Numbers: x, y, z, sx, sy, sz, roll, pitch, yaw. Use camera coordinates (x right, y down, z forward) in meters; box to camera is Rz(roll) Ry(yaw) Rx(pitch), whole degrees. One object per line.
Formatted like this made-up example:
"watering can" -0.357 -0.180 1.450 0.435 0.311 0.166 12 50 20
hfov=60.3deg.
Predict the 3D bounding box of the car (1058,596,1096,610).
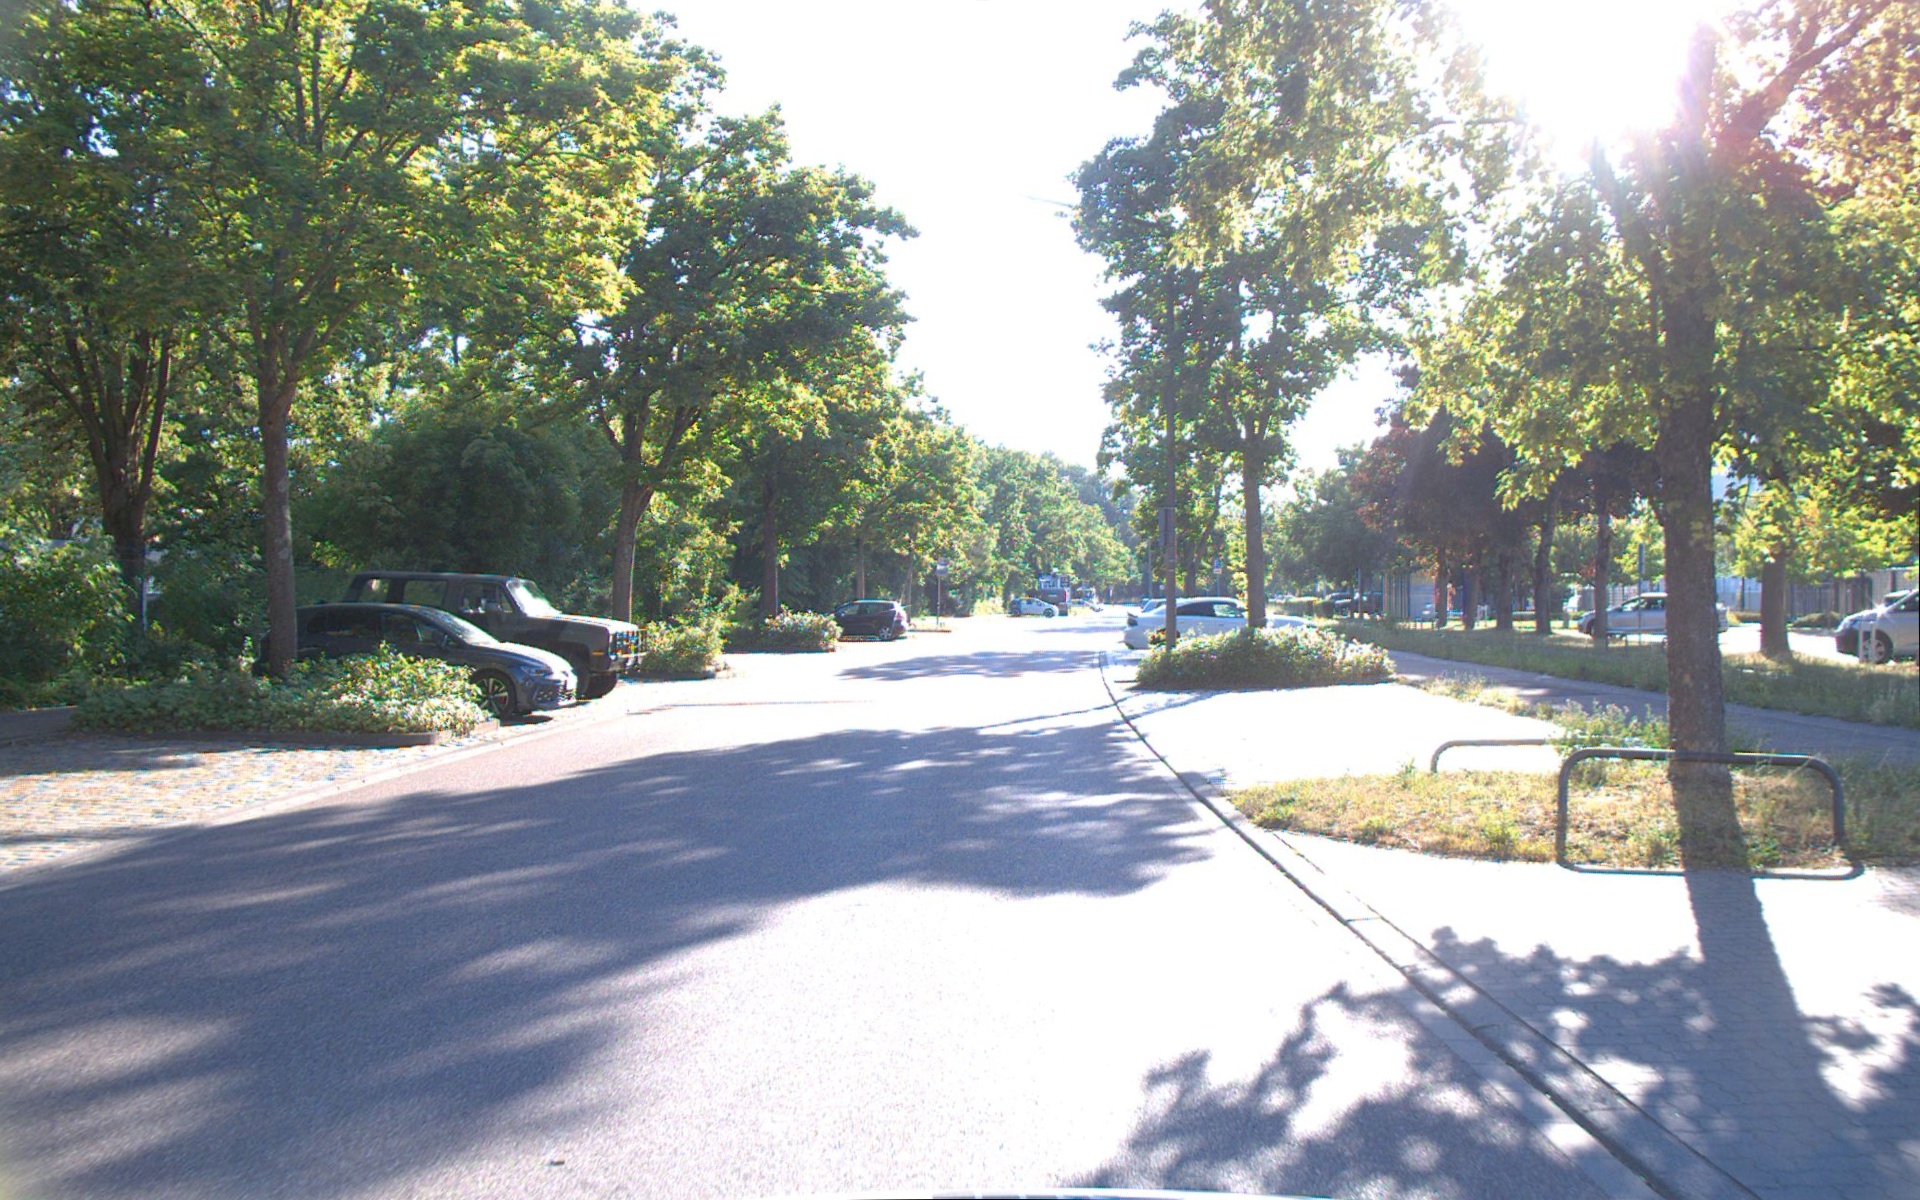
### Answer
"car" 13.355 0.313 188.733 4.268 1.505 2.001 -1 0 2

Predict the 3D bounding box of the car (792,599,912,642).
"car" -4.115 0.769 63.370 4.266 1.505 2.001 2 0 5

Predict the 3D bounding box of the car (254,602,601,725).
"car" -7.142 0.827 22.460 4.125 1.557 1.706 -1 0 1

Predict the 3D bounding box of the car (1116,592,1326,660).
"car" 6.556 0.638 42.002 5.067 1.601 2.158 -1 0 3

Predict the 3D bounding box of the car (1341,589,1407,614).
"car" 29.305 0.105 117.201 4.335 1.735 2.061 -1 0 7

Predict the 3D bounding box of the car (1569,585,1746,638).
"car" 22.424 0.369 53.303 1.986 1.601 4.872 0 0 -45

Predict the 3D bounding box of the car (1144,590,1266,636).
"car" 9.200 0.491 62.040 4.266 1.505 2.001 -3 -1 15

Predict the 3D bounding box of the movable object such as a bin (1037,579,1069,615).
"movable object such as a bin" 8.386 -0.287 148.786 2.778 3.122 4.929 -1 0 4

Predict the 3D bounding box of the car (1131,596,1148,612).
"car" 21.335 0.457 196.179 1.951 1.937 4.003 -1 0 6

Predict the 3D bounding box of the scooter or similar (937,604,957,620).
"scooter or similar" -0.957 0.879 122.323 1.571 1.165 0.568 0 0 -42

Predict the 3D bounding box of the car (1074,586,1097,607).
"car" 14.998 -0.378 197.954 2.464 2.428 4.374 -1 0 1

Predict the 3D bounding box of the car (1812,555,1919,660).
"car" 19.077 0.138 31.308 1.979 1.967 4.887 -1 1 -38

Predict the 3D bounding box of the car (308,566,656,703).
"car" -7.555 0.530 26.530 4.901 2.055 2.175 -1 0 1

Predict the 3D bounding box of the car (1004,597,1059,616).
"car" 5.887 0.529 136.304 4.265 1.574 2.002 -1 0 9
